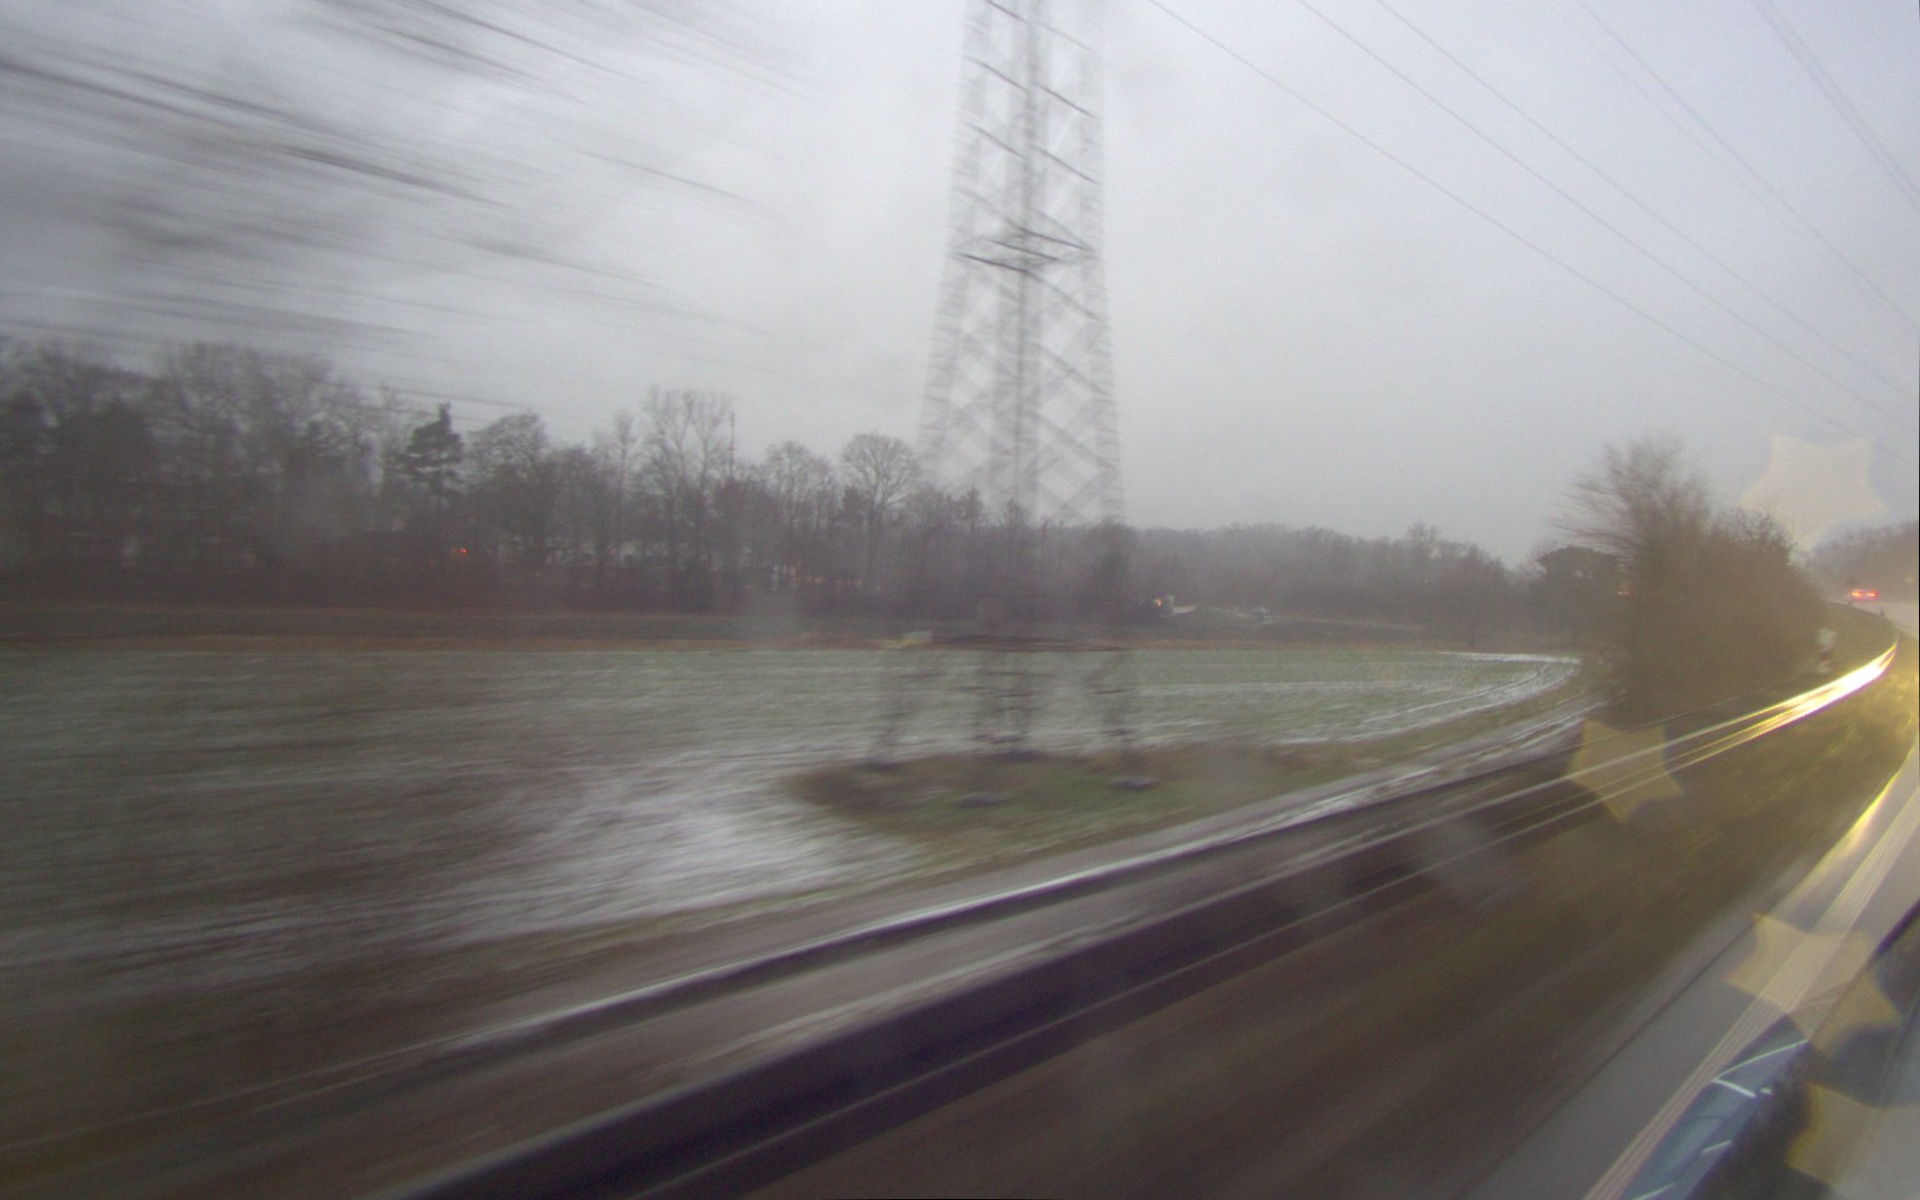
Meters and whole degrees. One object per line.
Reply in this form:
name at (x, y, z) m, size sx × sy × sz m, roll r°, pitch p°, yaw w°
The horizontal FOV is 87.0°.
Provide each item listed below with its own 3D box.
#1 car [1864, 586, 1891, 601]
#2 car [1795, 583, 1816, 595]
car at (100.858, -0.711, 111.291) m, size 1.991 × 1.508 × 4.319 m, roll 0°, pitch 1°, yaw 40°
car at (115.802, -1.485, 138.626) m, size 1.882 × 1.609 × 4.327 m, roll 0°, pitch 1°, yaw 35°
